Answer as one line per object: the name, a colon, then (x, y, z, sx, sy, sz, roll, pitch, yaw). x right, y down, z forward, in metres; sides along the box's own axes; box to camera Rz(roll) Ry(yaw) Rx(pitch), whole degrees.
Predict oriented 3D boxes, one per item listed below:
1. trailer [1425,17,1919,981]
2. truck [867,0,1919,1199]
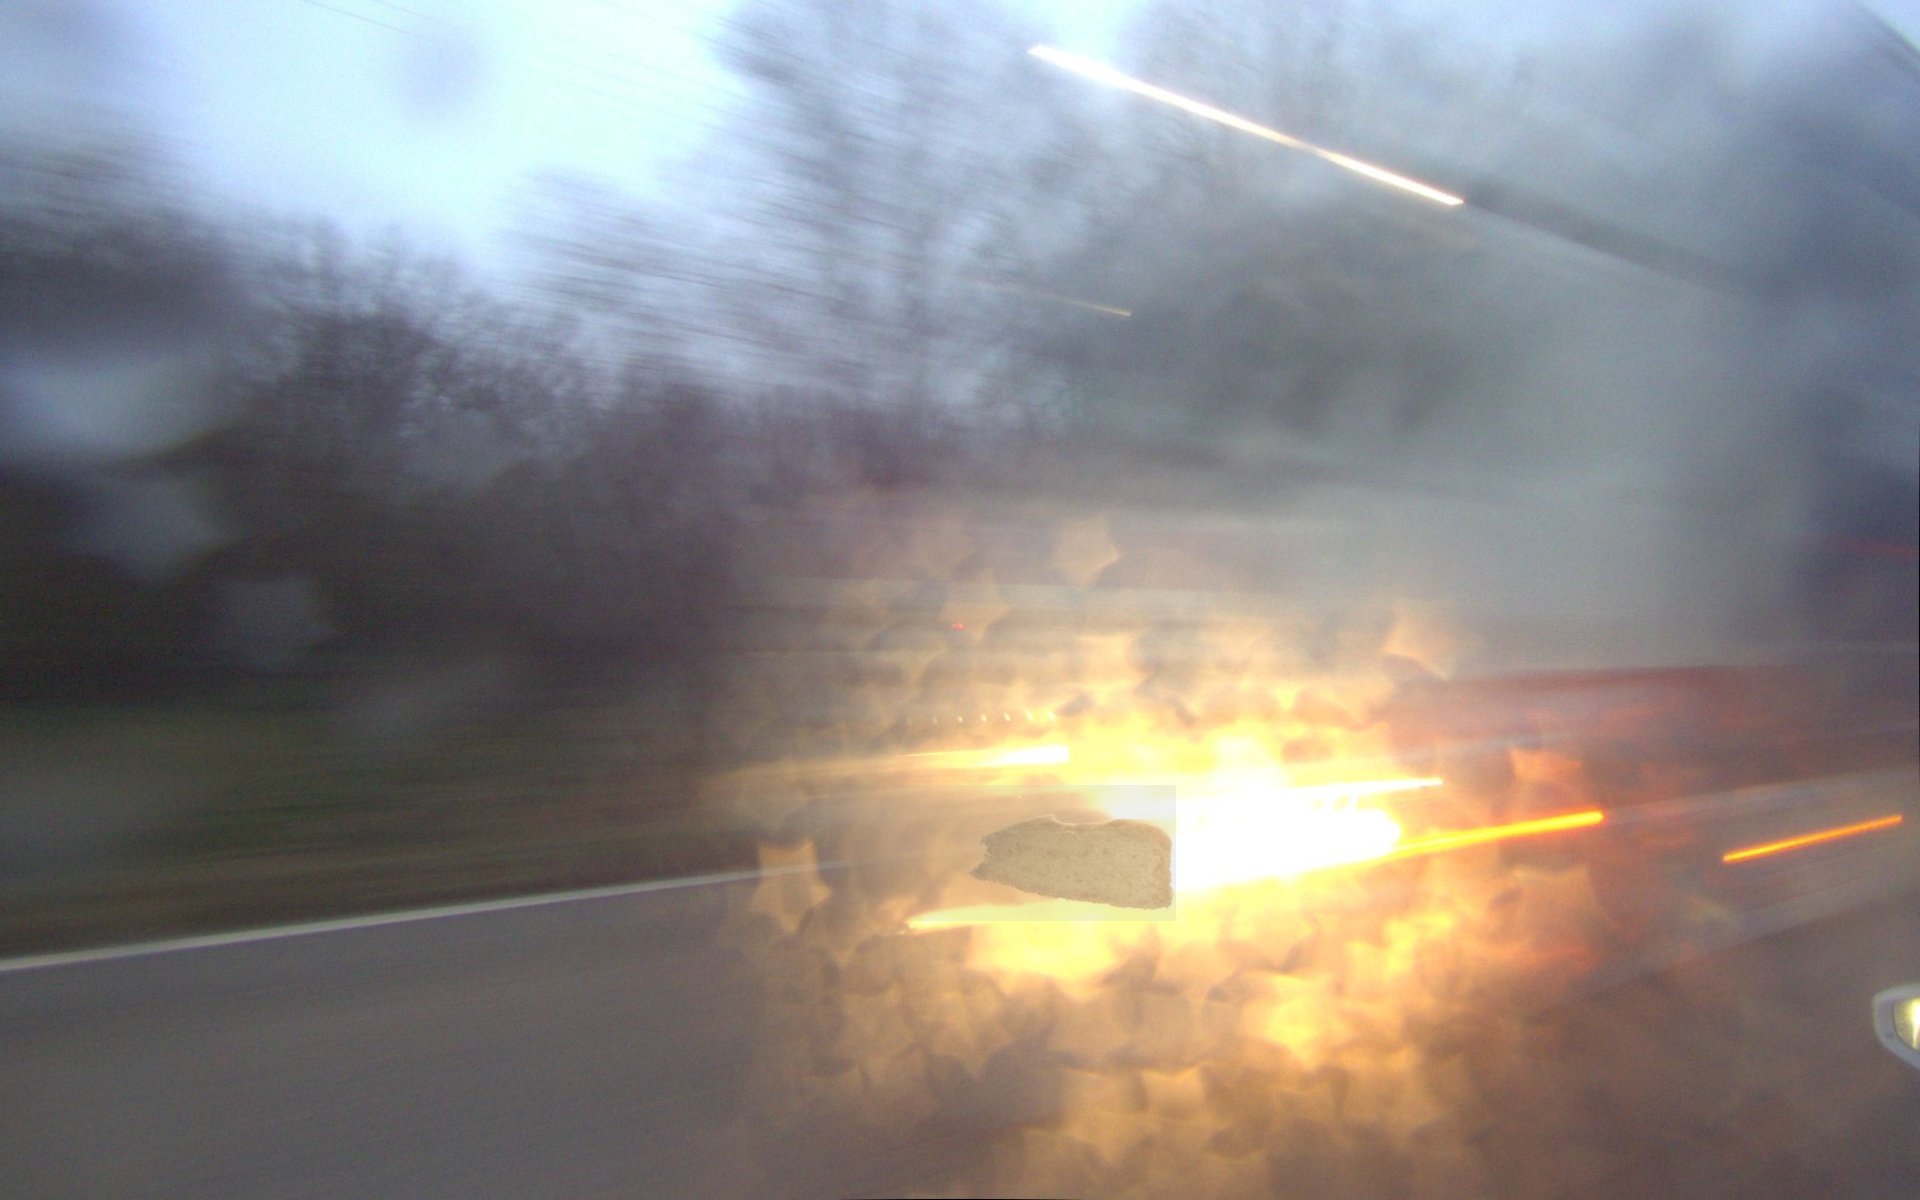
trailer: (9.116, -0.357, 8.817, 12.098, 4.517, 2.658, 1, 0, -30)
truck: (2.616, -0.511, 5.016, 5.488, 4.475, 2.629, 1, 0, -30)
